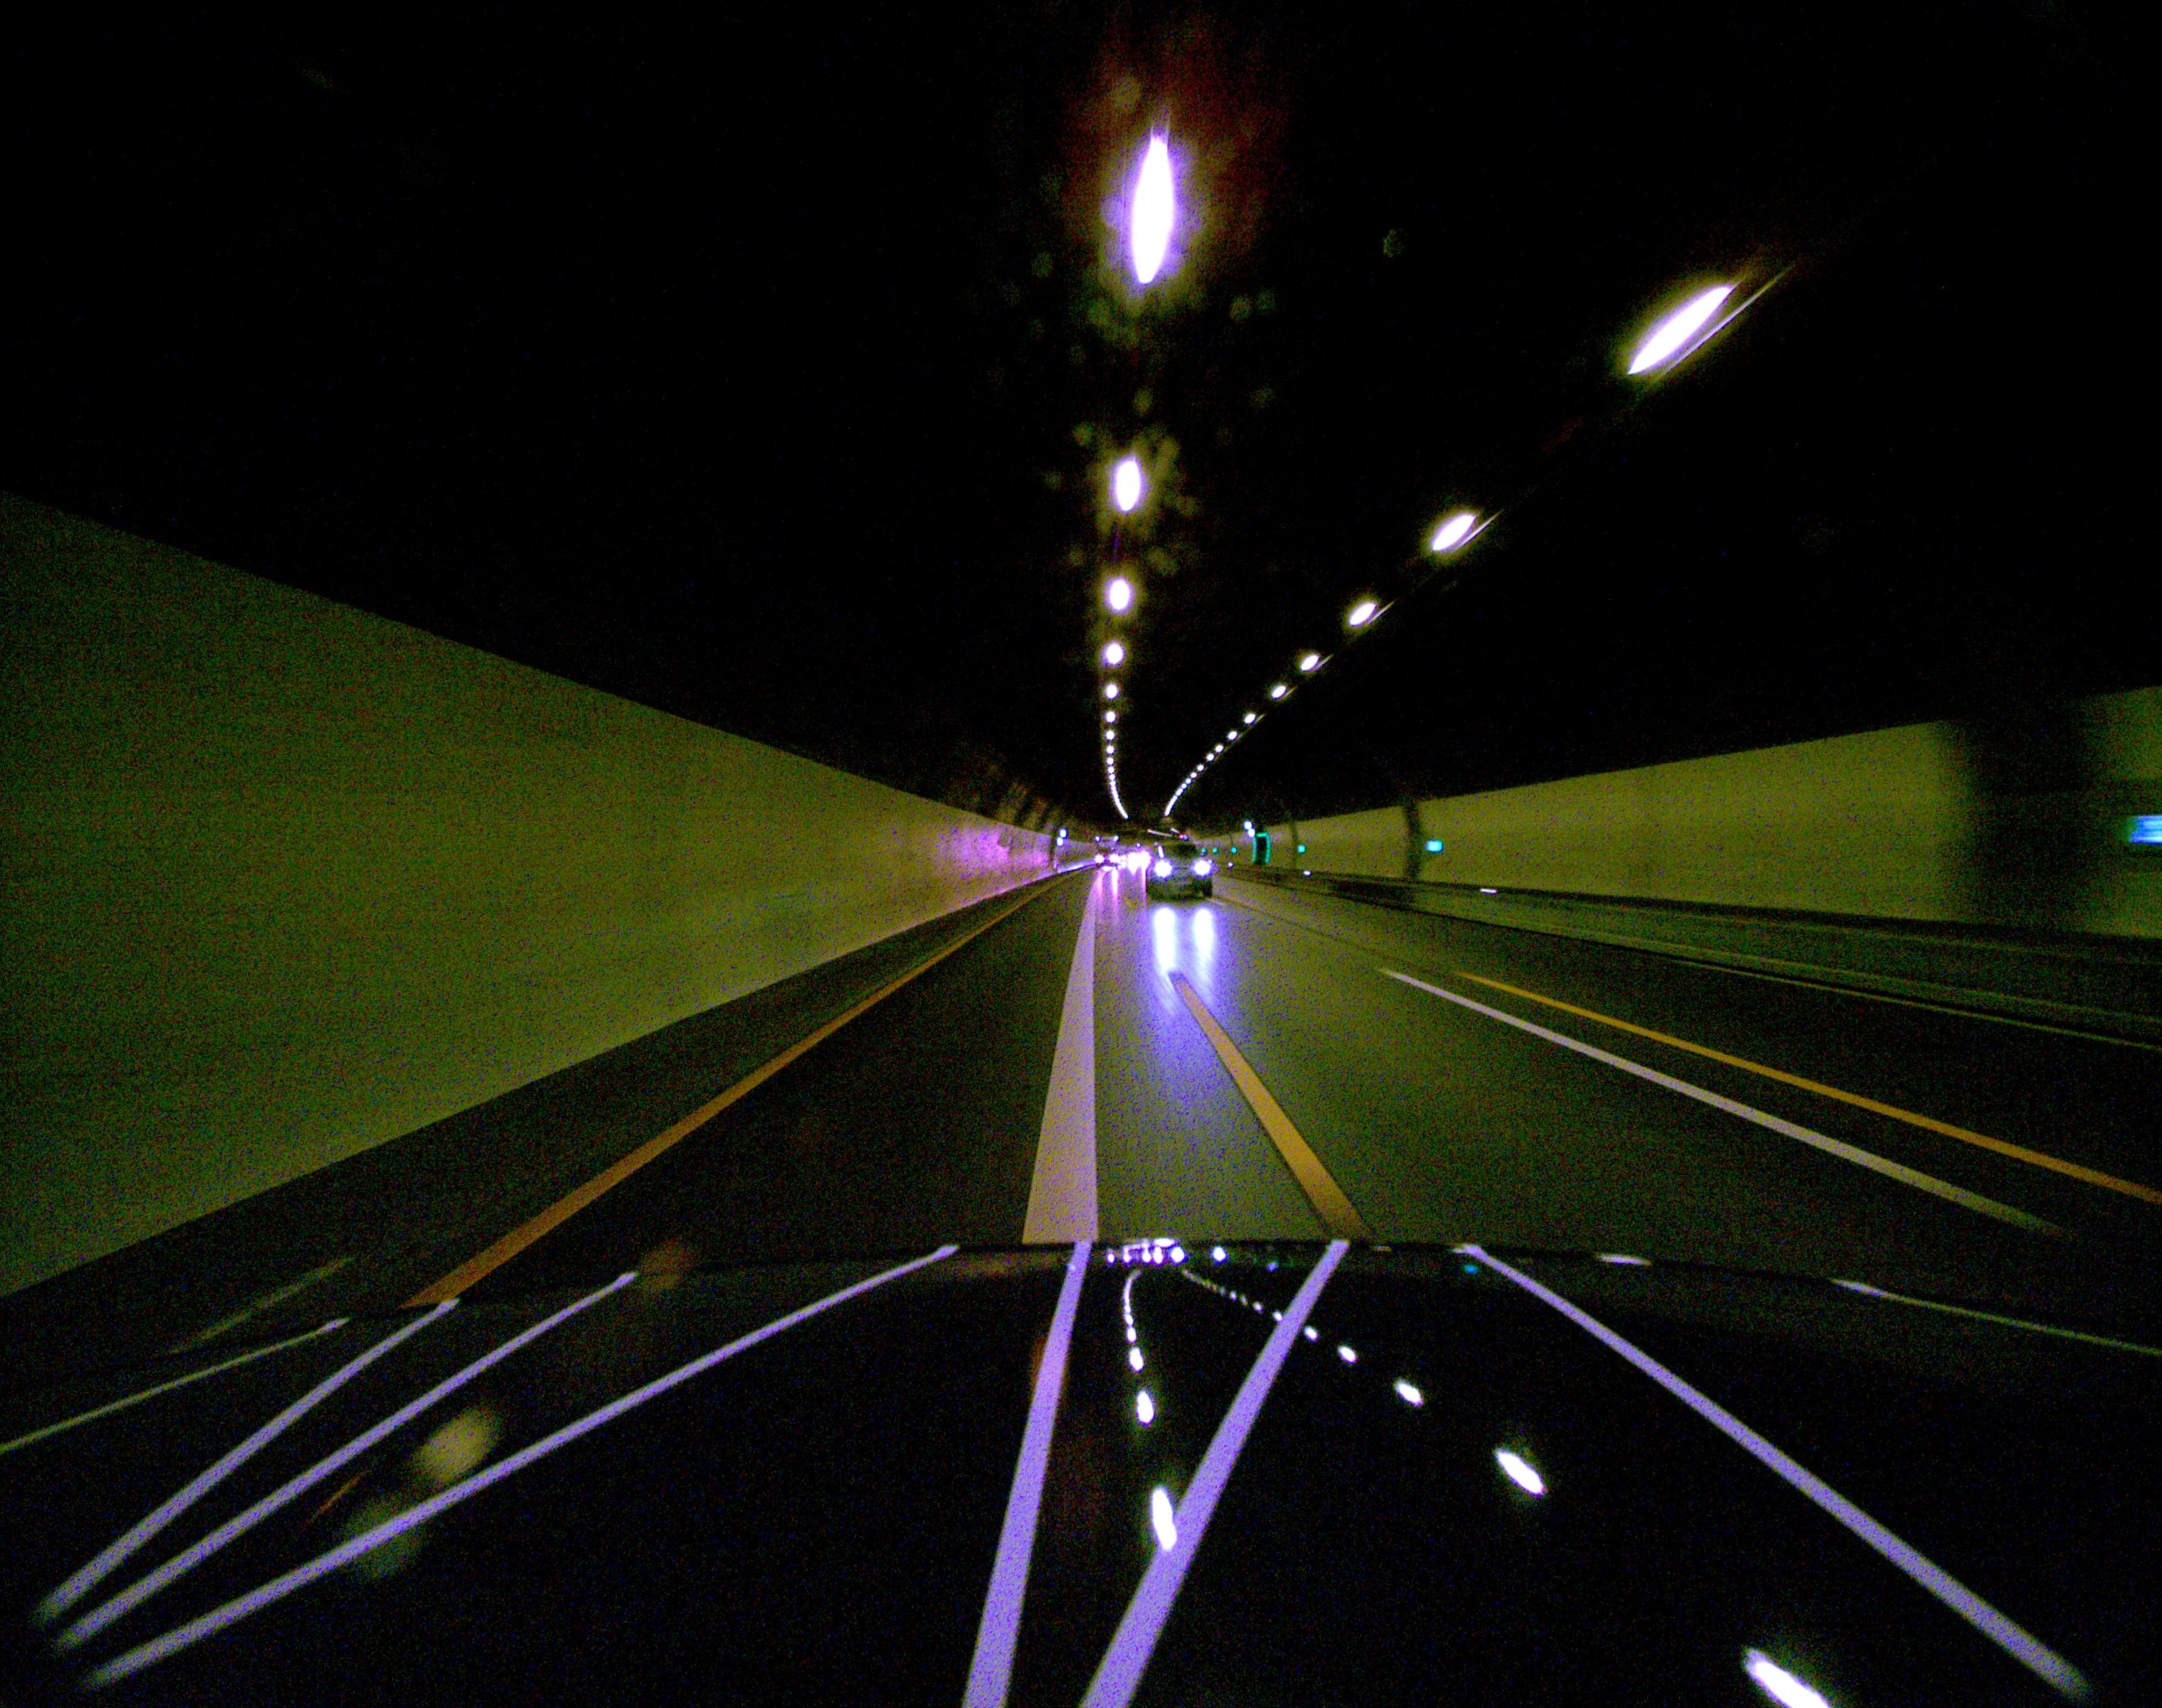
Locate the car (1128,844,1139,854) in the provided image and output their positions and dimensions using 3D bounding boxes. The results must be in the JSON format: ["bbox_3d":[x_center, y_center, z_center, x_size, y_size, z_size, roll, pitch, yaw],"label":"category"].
[{"bbox_3d":[10.604,-0.979,153.836,1.998,2.002,4.000,-2,0,1],"label":"car"}]

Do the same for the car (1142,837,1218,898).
[{"bbox_3d":[3.364,0.411,26.784,1.998,1.884,5.453,-1,1,1],"label":"car"}]

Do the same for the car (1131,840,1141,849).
[{"bbox_3d":[12.482,-2.178,172.592,1.998,1.917,4.385,-2,0,1],"label":"car"}]

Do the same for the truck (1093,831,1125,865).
[{"bbox_3d":[2.813,-0.642,78.921,2.989,3.161,10.508,-2,0,1],"label":"truck"}]

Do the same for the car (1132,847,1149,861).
[{"bbox_3d":[8.135,-0.039,103.614,2.171,1.709,4.482,-2,0,4],"label":"car"}]

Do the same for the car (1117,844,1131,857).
[{"bbox_3d":[7.111,-0.527,126.039,1.998,2.002,4.000,-2,0,1],"label":"car"}]
